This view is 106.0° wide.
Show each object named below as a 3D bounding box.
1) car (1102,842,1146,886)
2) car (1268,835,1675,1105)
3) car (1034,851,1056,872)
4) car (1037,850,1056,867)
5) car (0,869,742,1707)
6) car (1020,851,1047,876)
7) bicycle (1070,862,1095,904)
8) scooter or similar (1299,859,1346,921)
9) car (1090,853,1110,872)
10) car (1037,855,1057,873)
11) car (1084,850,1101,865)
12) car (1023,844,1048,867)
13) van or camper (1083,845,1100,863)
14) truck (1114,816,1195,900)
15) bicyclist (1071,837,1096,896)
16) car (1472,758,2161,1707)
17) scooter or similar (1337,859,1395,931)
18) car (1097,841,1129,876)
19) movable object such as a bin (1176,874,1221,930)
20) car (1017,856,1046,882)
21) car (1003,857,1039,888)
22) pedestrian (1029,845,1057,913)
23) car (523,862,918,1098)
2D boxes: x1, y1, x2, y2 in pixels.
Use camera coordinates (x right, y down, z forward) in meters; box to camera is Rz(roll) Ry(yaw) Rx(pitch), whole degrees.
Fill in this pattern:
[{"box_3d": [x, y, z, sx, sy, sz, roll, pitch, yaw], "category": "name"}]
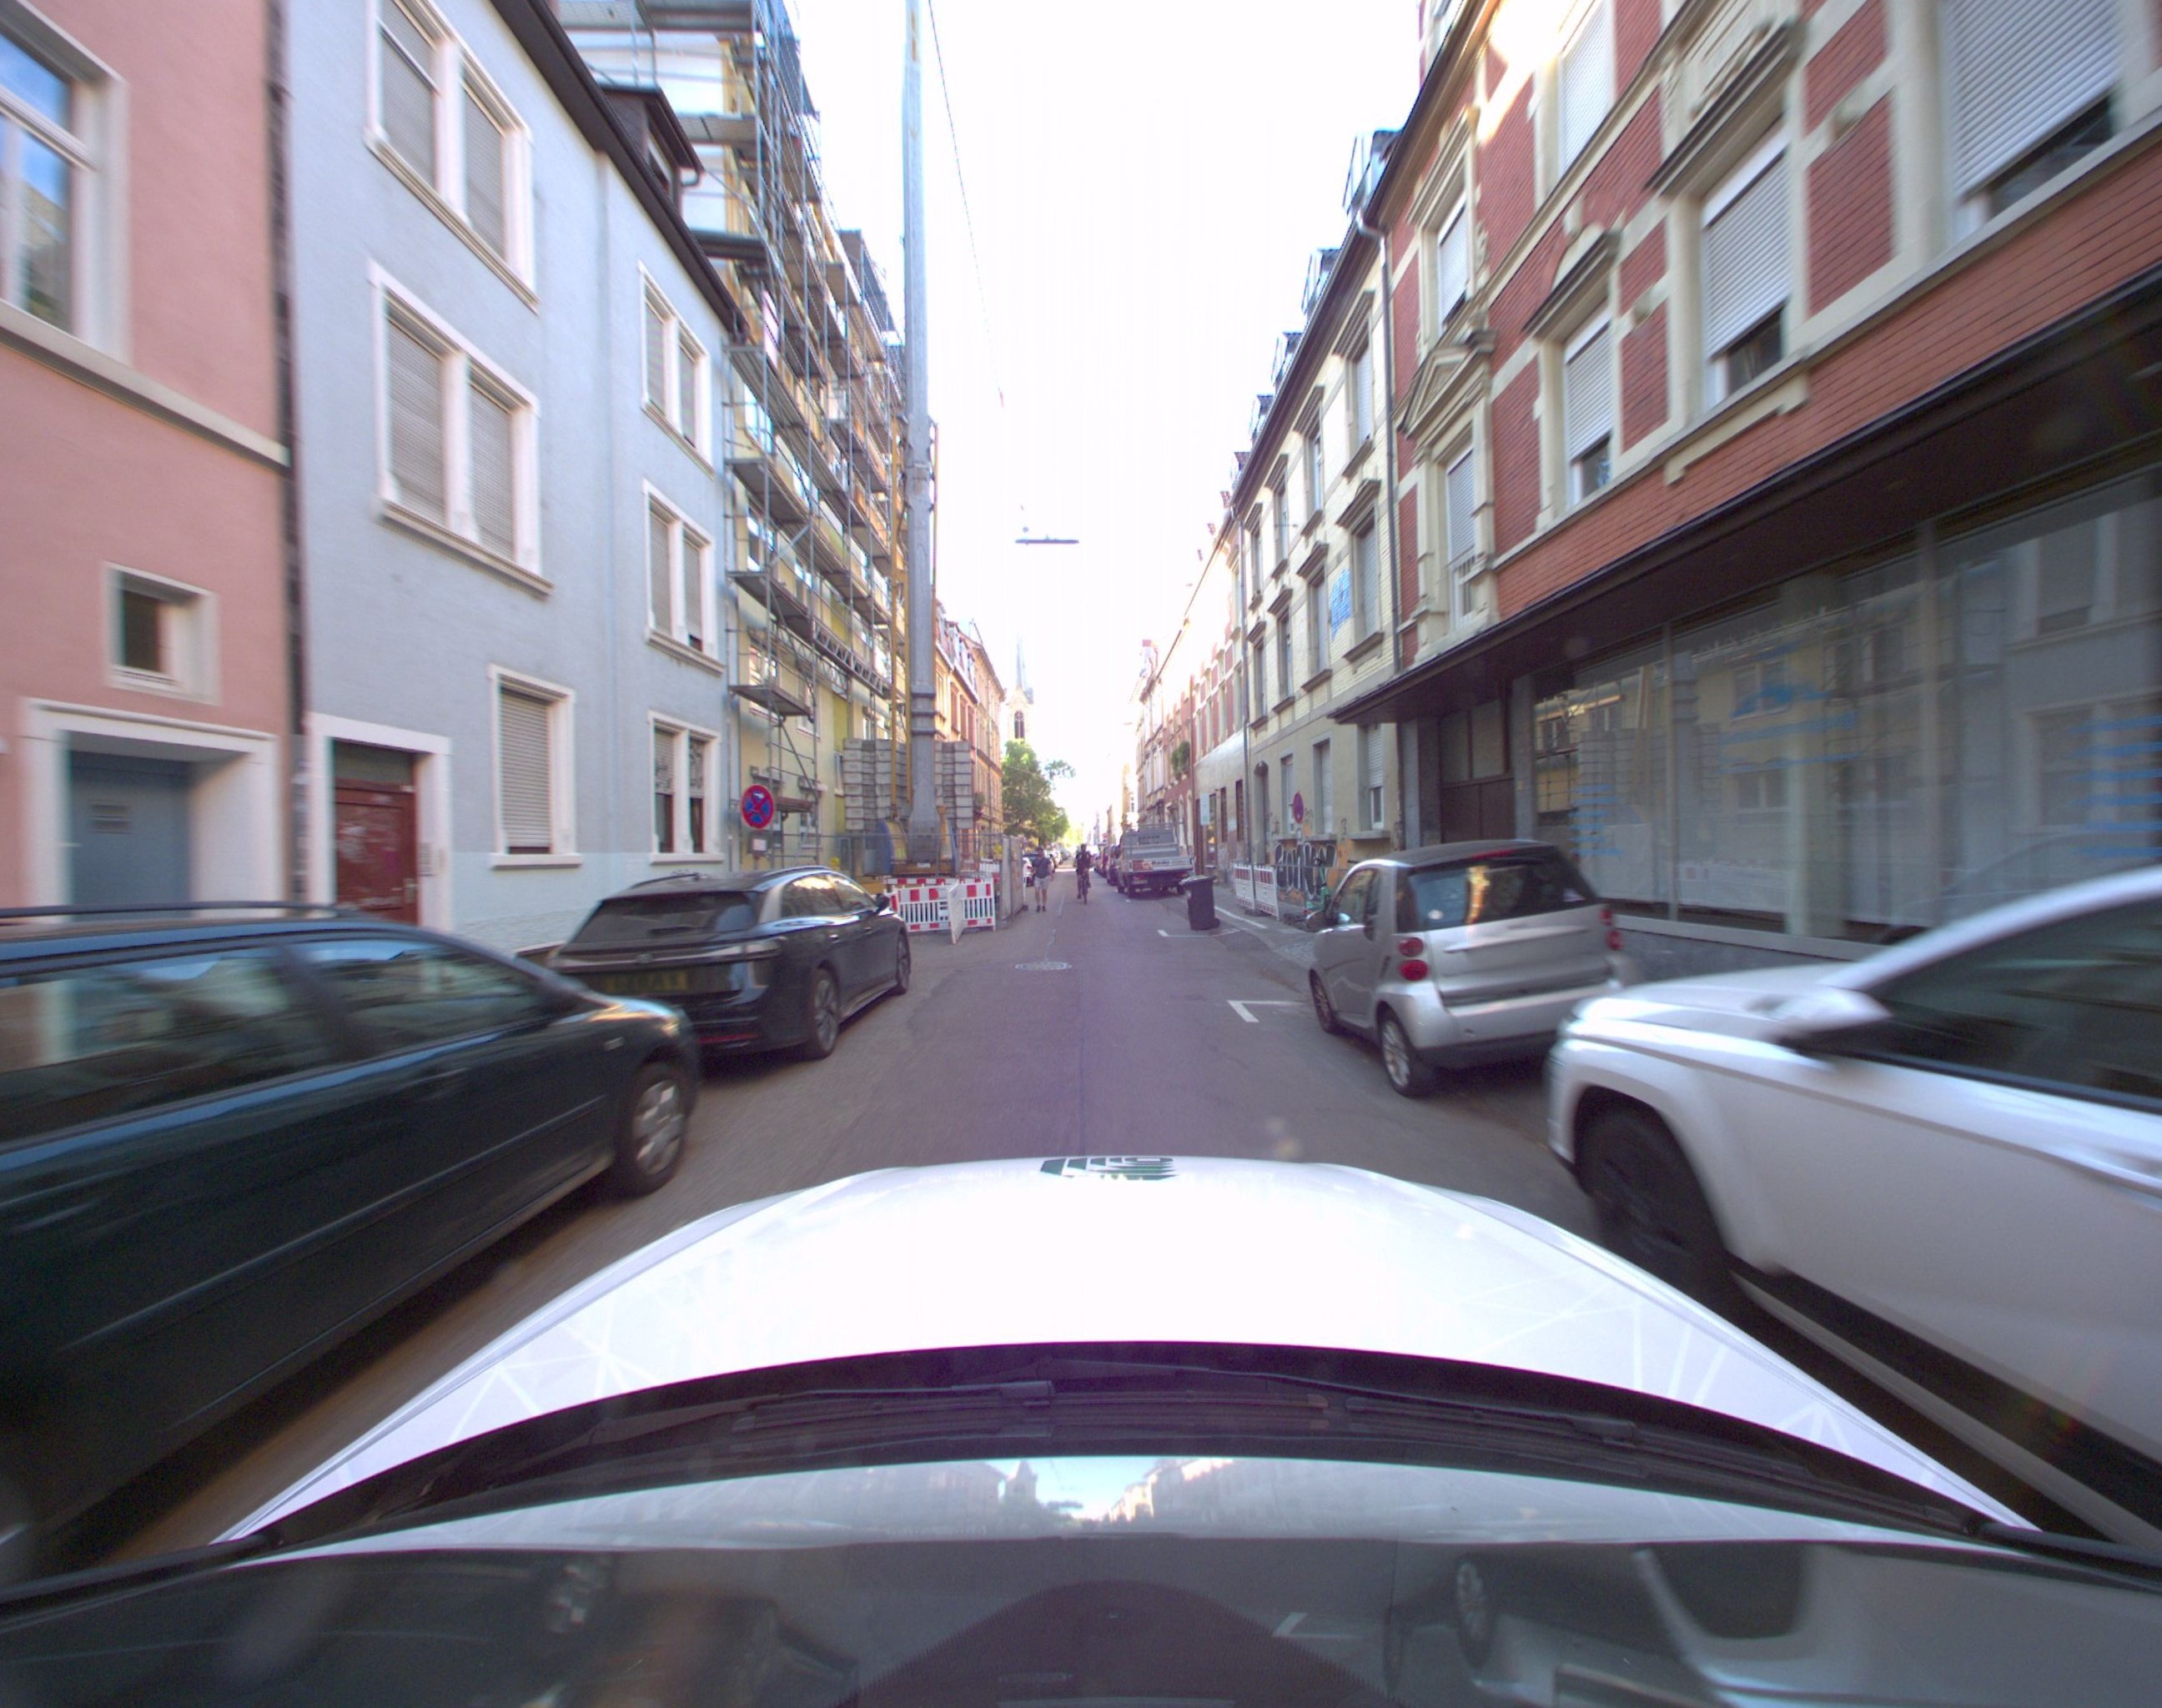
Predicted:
[{"box_3d": [2.027, 0.456, 39.276, 1.671, 1.963, 4.105, -2, 0, -3], "category": "car"}, {"box_3d": [2.767, 0.689, 6.767, 1.591, 1.560, 3.815, -2, 0, 1], "category": "car"}, {"box_3d": [-2.868, 0.598, 65.019, 1.671, 1.571, 3.865, -2, 0, -3], "category": "car"}, {"box_3d": [-3.889, 0.478, 93.237, 1.988, 1.849, 3.997, -3, 0, -2], "category": "car"}, {"box_3d": [-2.868, 0.867, 2.641, 1.670, 1.511, 4.413, -2, 0, -1], "category": "car"}, {"box_3d": [-3.156, 0.633, 54.540, 1.671, 1.571, 3.865, -2, 0, -3], "category": "car"}, {"box_3d": [0.052, 0.856, 25.140, 0.722, 1.186, 2.042, -1, 1, 0], "category": "bicycle"}, {"box_3d": [4.916, 0.706, 16.645, 0.416, 1.178, 1.495, -4, 0, 0], "category": "scooter or similar"}, {"box_3d": [2.090, 0.902, 89.686, 1.988, 2.013, 3.997, -2, 0, -2], "category": "car"}, {"box_3d": [-3.610, 1.019, 87.797, 1.988, 1.849, 3.997, -2, 0, -2], "category": "car"}, {"box_3d": [1.417, 0.432, 102.711, 1.988, 1.849, 3.997, -3, 0, -2], "category": "car"}, {"box_3d": [-3.325, 0.104, 59.823, 1.671, 1.571, 3.865, -2, 0, -3], "category": "car"}, {"box_3d": [1.552, 0.032, 118.295, 1.990, 2.508, 4.195, -3, 0, -5], "category": "van or camper"}, {"box_3d": [2.467, 0.116, 28.787, 2.184, 2.607, 5.231, -3, 0, -2], "category": "truck"}, {"box_3d": [0.061, 0.372, 25.138, 0.728, 1.761, 0.835, -1, 0, -1], "category": "bicyclist"}, {"box_3d": [2.656, 0.651, 1.540, 1.740, 1.675, 4.341, -2, 0, 1], "category": "car"}, {"box_3d": [5.032, 0.699, 14.448, 0.416, 1.178, 1.495, -4, 0, 0], "category": "scooter or similar"}, {"box_3d": [1.983, 0.287, 51.771, 1.671, 2.031, 3.865, -2, 0, -3], "category": "car"}, {"box_3d": [2.370, 0.965, 16.531, 0.792, 1.056, 0.660, -2, 0, -1], "category": "movable object such as a bin"}, {"box_3d": [-2.977, 0.880, 49.652, 1.671, 1.445, 3.865, -2, 0, -3], "category": "car"}, {"box_3d": [-2.959, 0.889, 40.837, 1.671, 1.445, 3.865, -2, 0, -3], "category": "car"}, {"box_3d": [-0.986, 0.638, 21.411, 0.656, 1.732, 0.720, -2, 0, -1], "category": "pedestrian"}, {"box_3d": [-2.852, 0.856, 7.711, 1.670, 1.477, 4.606, -2, 0, -1], "category": "car"}]
